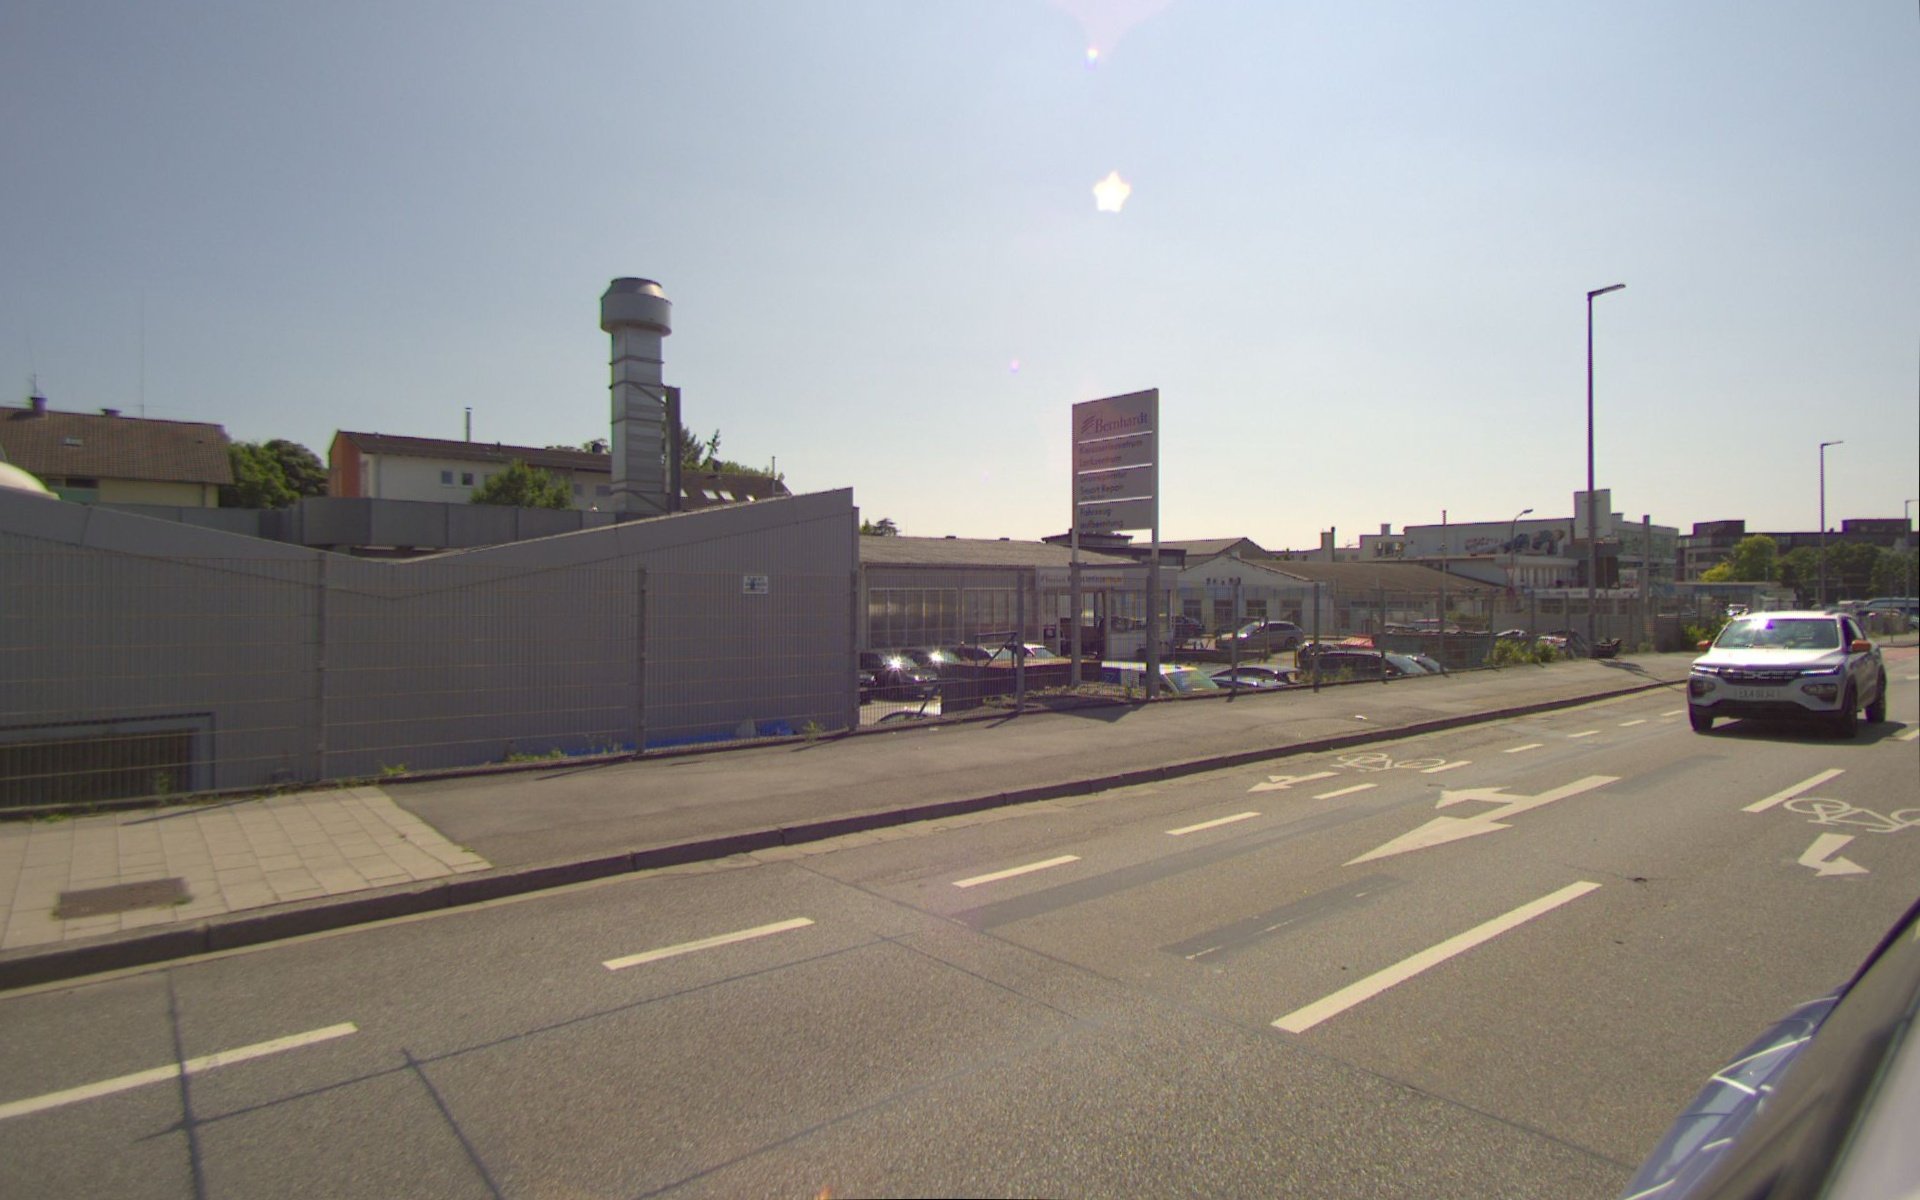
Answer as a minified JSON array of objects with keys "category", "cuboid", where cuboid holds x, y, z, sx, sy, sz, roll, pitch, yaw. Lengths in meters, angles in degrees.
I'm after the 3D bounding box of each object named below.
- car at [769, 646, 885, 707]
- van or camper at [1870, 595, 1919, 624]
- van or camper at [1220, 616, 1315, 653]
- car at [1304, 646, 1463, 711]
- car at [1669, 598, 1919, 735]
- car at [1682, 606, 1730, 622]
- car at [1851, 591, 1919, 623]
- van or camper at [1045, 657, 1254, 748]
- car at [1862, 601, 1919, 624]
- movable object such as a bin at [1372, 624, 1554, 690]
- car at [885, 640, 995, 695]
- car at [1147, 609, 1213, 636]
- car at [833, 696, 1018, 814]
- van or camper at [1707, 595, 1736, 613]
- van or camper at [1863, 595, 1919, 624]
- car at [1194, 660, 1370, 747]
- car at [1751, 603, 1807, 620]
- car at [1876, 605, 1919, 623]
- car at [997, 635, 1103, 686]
[{"category":"car","cuboid":[-4.597,2.556,34.551,1.966,1.683,3.991,1,1,-43]},{"category":"van or camper","cuboid":[92.339,0.930,97.732,2.664,2.751,6.360,1,0,-40]},{"category":"van or camper","cuboid":[15.667,1.727,51.599,4.140,1.561,2.006,-1,4,-14]},{"category":"car","cuboid":[12.729,2.294,30.584,1.966,1.672,3.992,0,-1,-42]},{"category":"car","cuboid":[10.764,0.756,12.956,3.609,1.503,1.726,0,-2,-38]},{"category":"car","cuboid":[84.062,1.566,114.095,1.967,1.755,4.108,1,0,-44]},{"category":"car","cuboid":[87.478,0.666,94.406,2.279,2.906,6.240,1,0,-40]},{"category":"van or camper","cuboid":[4.217,2.221,23.014,1.988,1.672,4.314,0,-1,-45]},{"category":"car","cuboid":[85.893,1.147,92.246,1.965,1.976,5.243,1,0,-41]},{"category":"movable object such as a bin","cuboid":[16.939,1.928,34.321,1.965,2.040,5.122,0,-3,-41]},{"category":"car","cuboid":[-0.792,2.485,38.152,1.967,1.682,3.991,-2,2,-43]},{"category":"car","cuboid":[15.027,1.548,69.285,1.967,1.817,3.989,1,-2,-44]},{"category":"car","cuboid":[-0.803,2.989,20.404,1.961,1.854,4.001,0,-3,-32]},{"category":"van or camper","cuboid":[88.521,0.499,117.632,2.117,2.039,5.035,0,0,43]},{"category":"van or camper","cuboid":[90.021,0.898,95.959,2.664,2.734,6.360,1,0,-40]},{"category":"car","cuboid":[8.538,2.670,27.038,1.965,2.040,3.991,0,-3,-41]},{"category":"car","cuboid":[88.602,1.221,109.564,1.967,1.699,4.540,1,0,-44]},{"category":"car","cuboid":[84.186,1.251,89.917,1.767,1.613,3.928,1,-1,-41]},{"category":"car","cuboid":[3.603,2.395,40.955,1.967,1.682,3.991,-2,2,-43]}]
